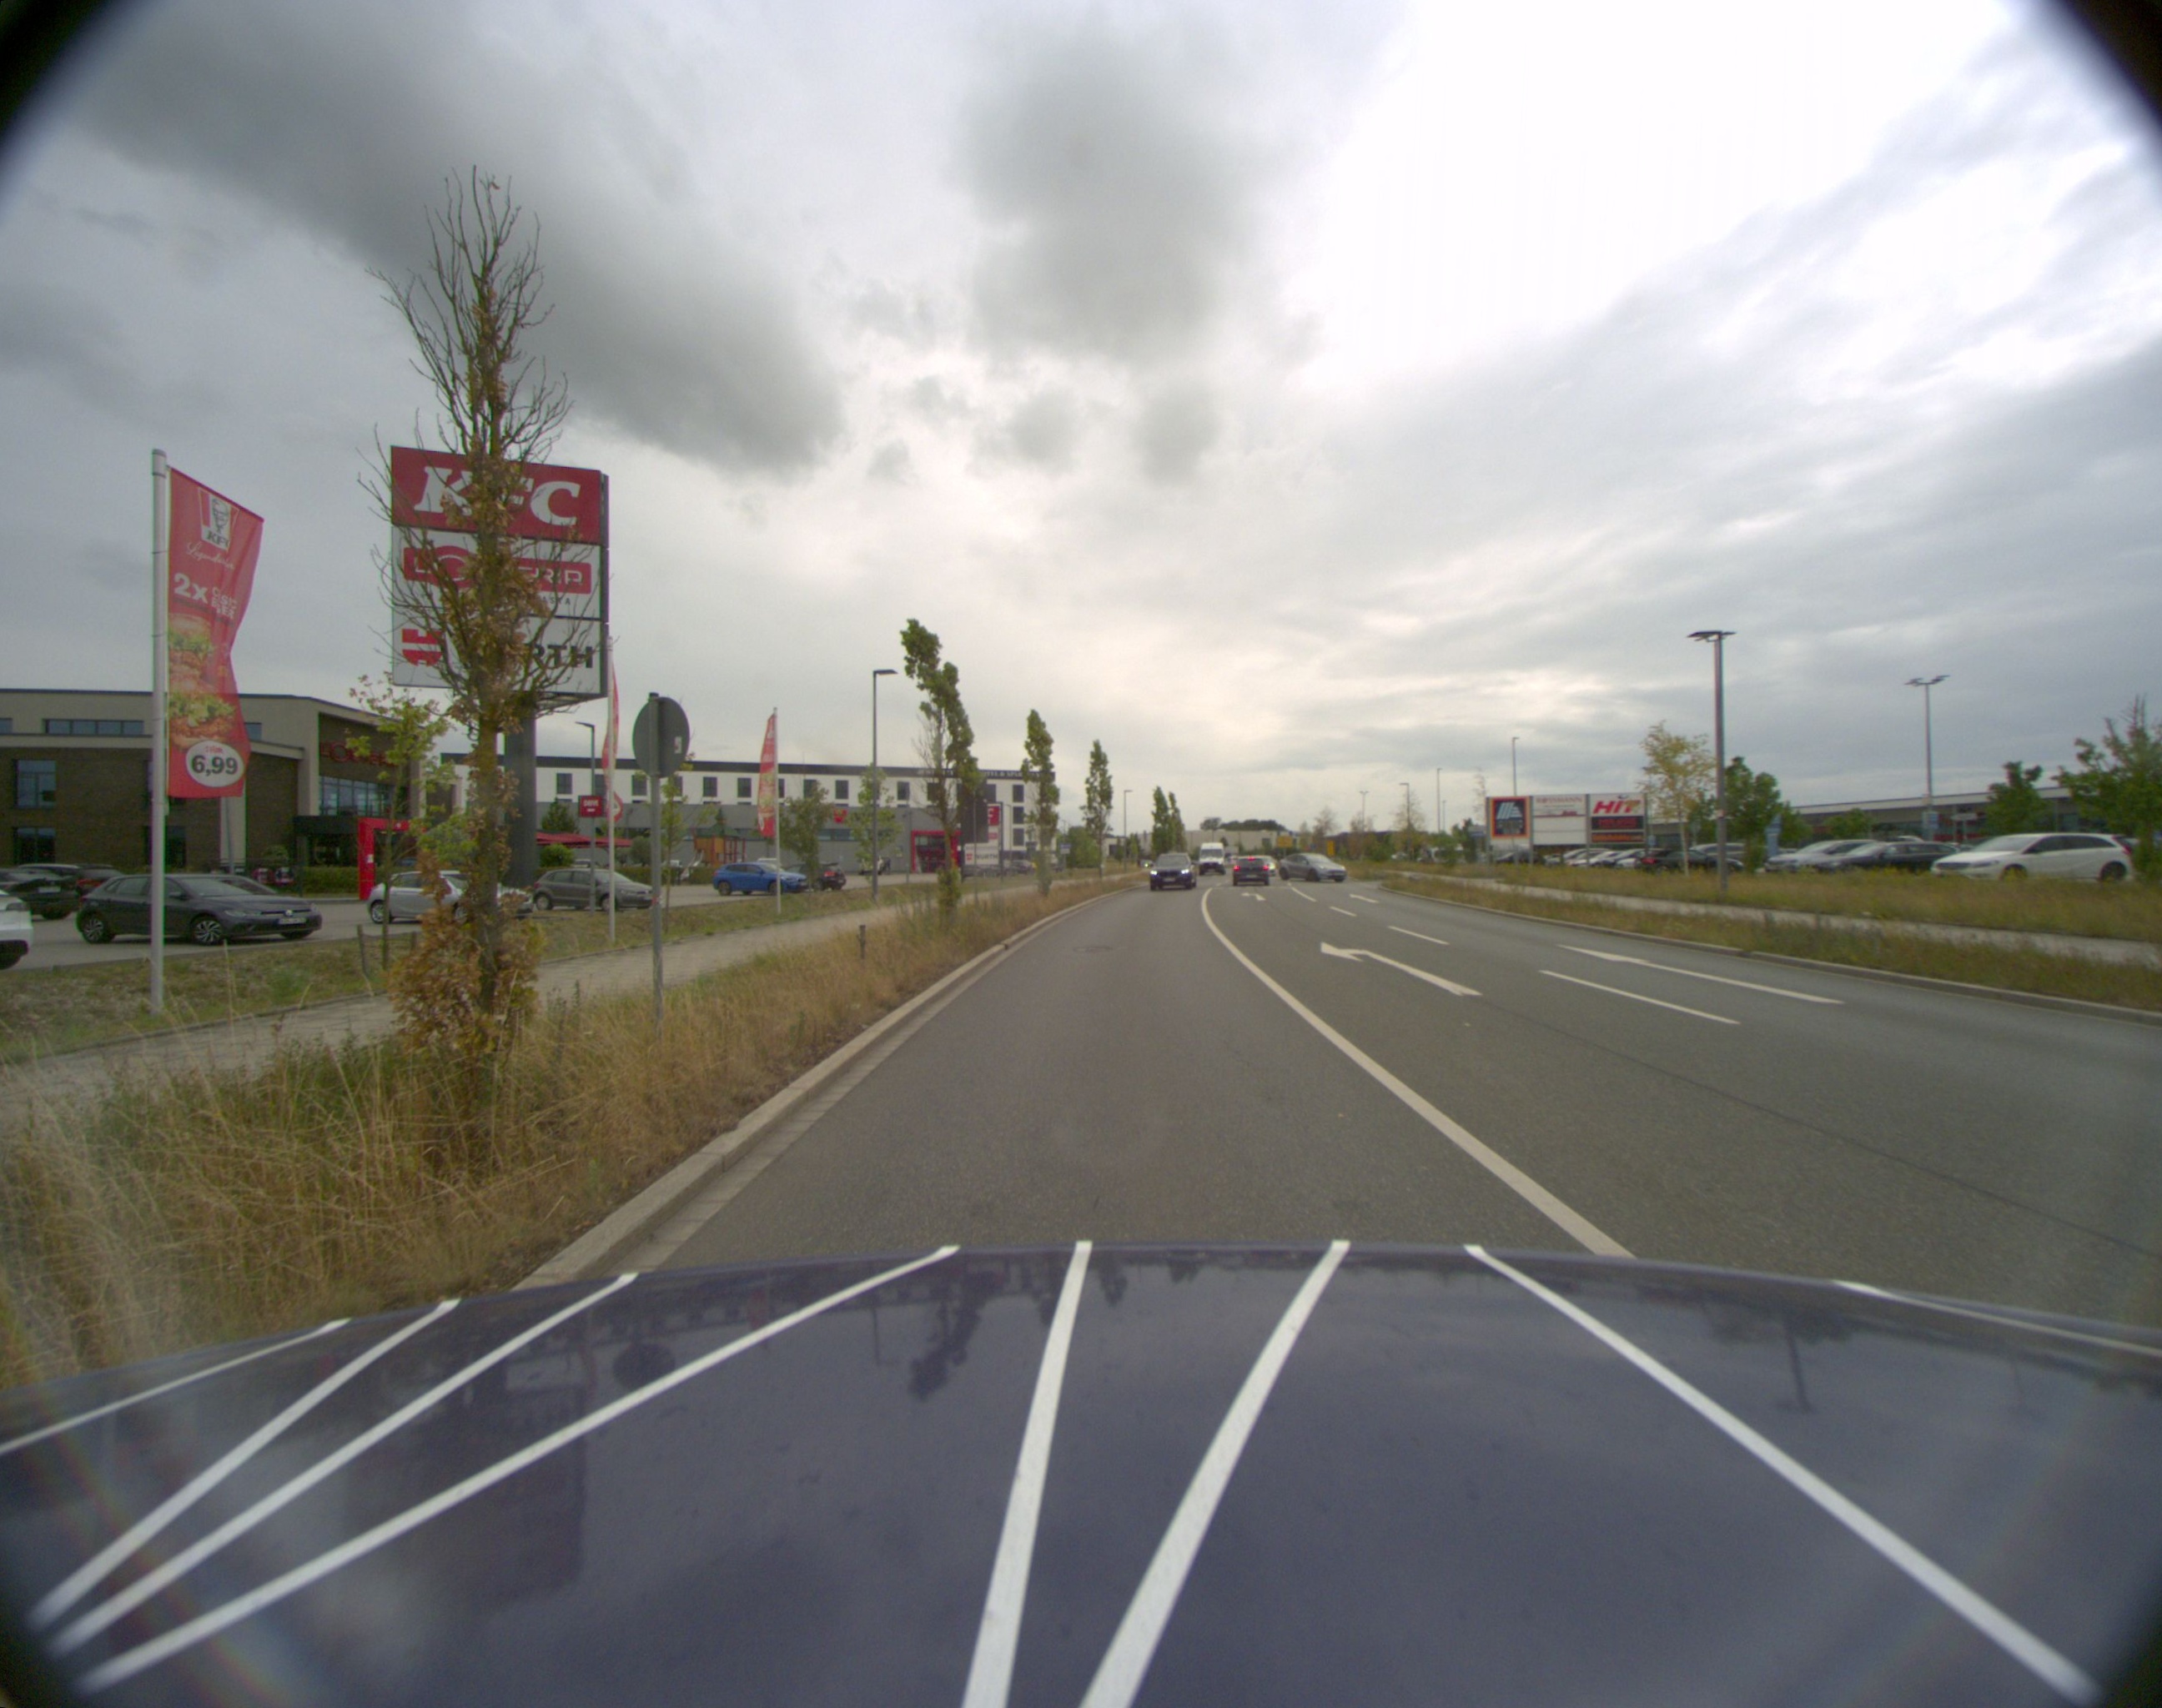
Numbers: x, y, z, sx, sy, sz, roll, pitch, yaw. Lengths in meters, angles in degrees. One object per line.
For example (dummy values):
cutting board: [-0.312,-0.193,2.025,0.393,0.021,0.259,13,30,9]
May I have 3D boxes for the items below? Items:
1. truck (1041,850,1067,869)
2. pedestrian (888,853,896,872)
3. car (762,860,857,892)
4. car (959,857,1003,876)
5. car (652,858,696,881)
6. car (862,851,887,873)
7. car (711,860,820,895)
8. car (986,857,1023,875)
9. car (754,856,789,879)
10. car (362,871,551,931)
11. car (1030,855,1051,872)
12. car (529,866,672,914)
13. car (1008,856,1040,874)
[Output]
truck: [-3.254,0.696,94.191,2.231,2.312,8.218,-1,0,5]
pedestrian: [-18.352,0.816,73.612,0.615,1.857,0.800,-1,0,-22]
car: [-13.442,1.084,37.717,3.992,1.485,1.984,-1,0,15]
car: [-7.749,0.959,59.344,1.965,1.451,4.836,-1,0,12]
car: [-30.991,1.160,57.959,1.987,1.619,4.322,-1,0,-16]
car: [-19.807,0.775,72.909,2.002,1.975,4.629,-1,0,-19]
car: [-14.634,1.085,35.332,4.269,1.511,1.967,-1,0,12]
car: [-6.457,0.995,64.855,1.867,1.428,4.884,-1,0,10]
car: [-24.254,1.026,59.714,2.001,1.687,4.786,-1,0,-16]
car: [-17.125,1.249,20.929,3.868,1.473,1.903,0,0,8]
car: [-4.105,0.921,77.400,1.767,1.676,4.412,-1,0,1]
car: [-16.158,1.199,25.650,3.764,1.485,1.891,-1,0,10]
car: [-5.298,1.023,71.051,1.997,1.488,4.610,-1,1,8]
